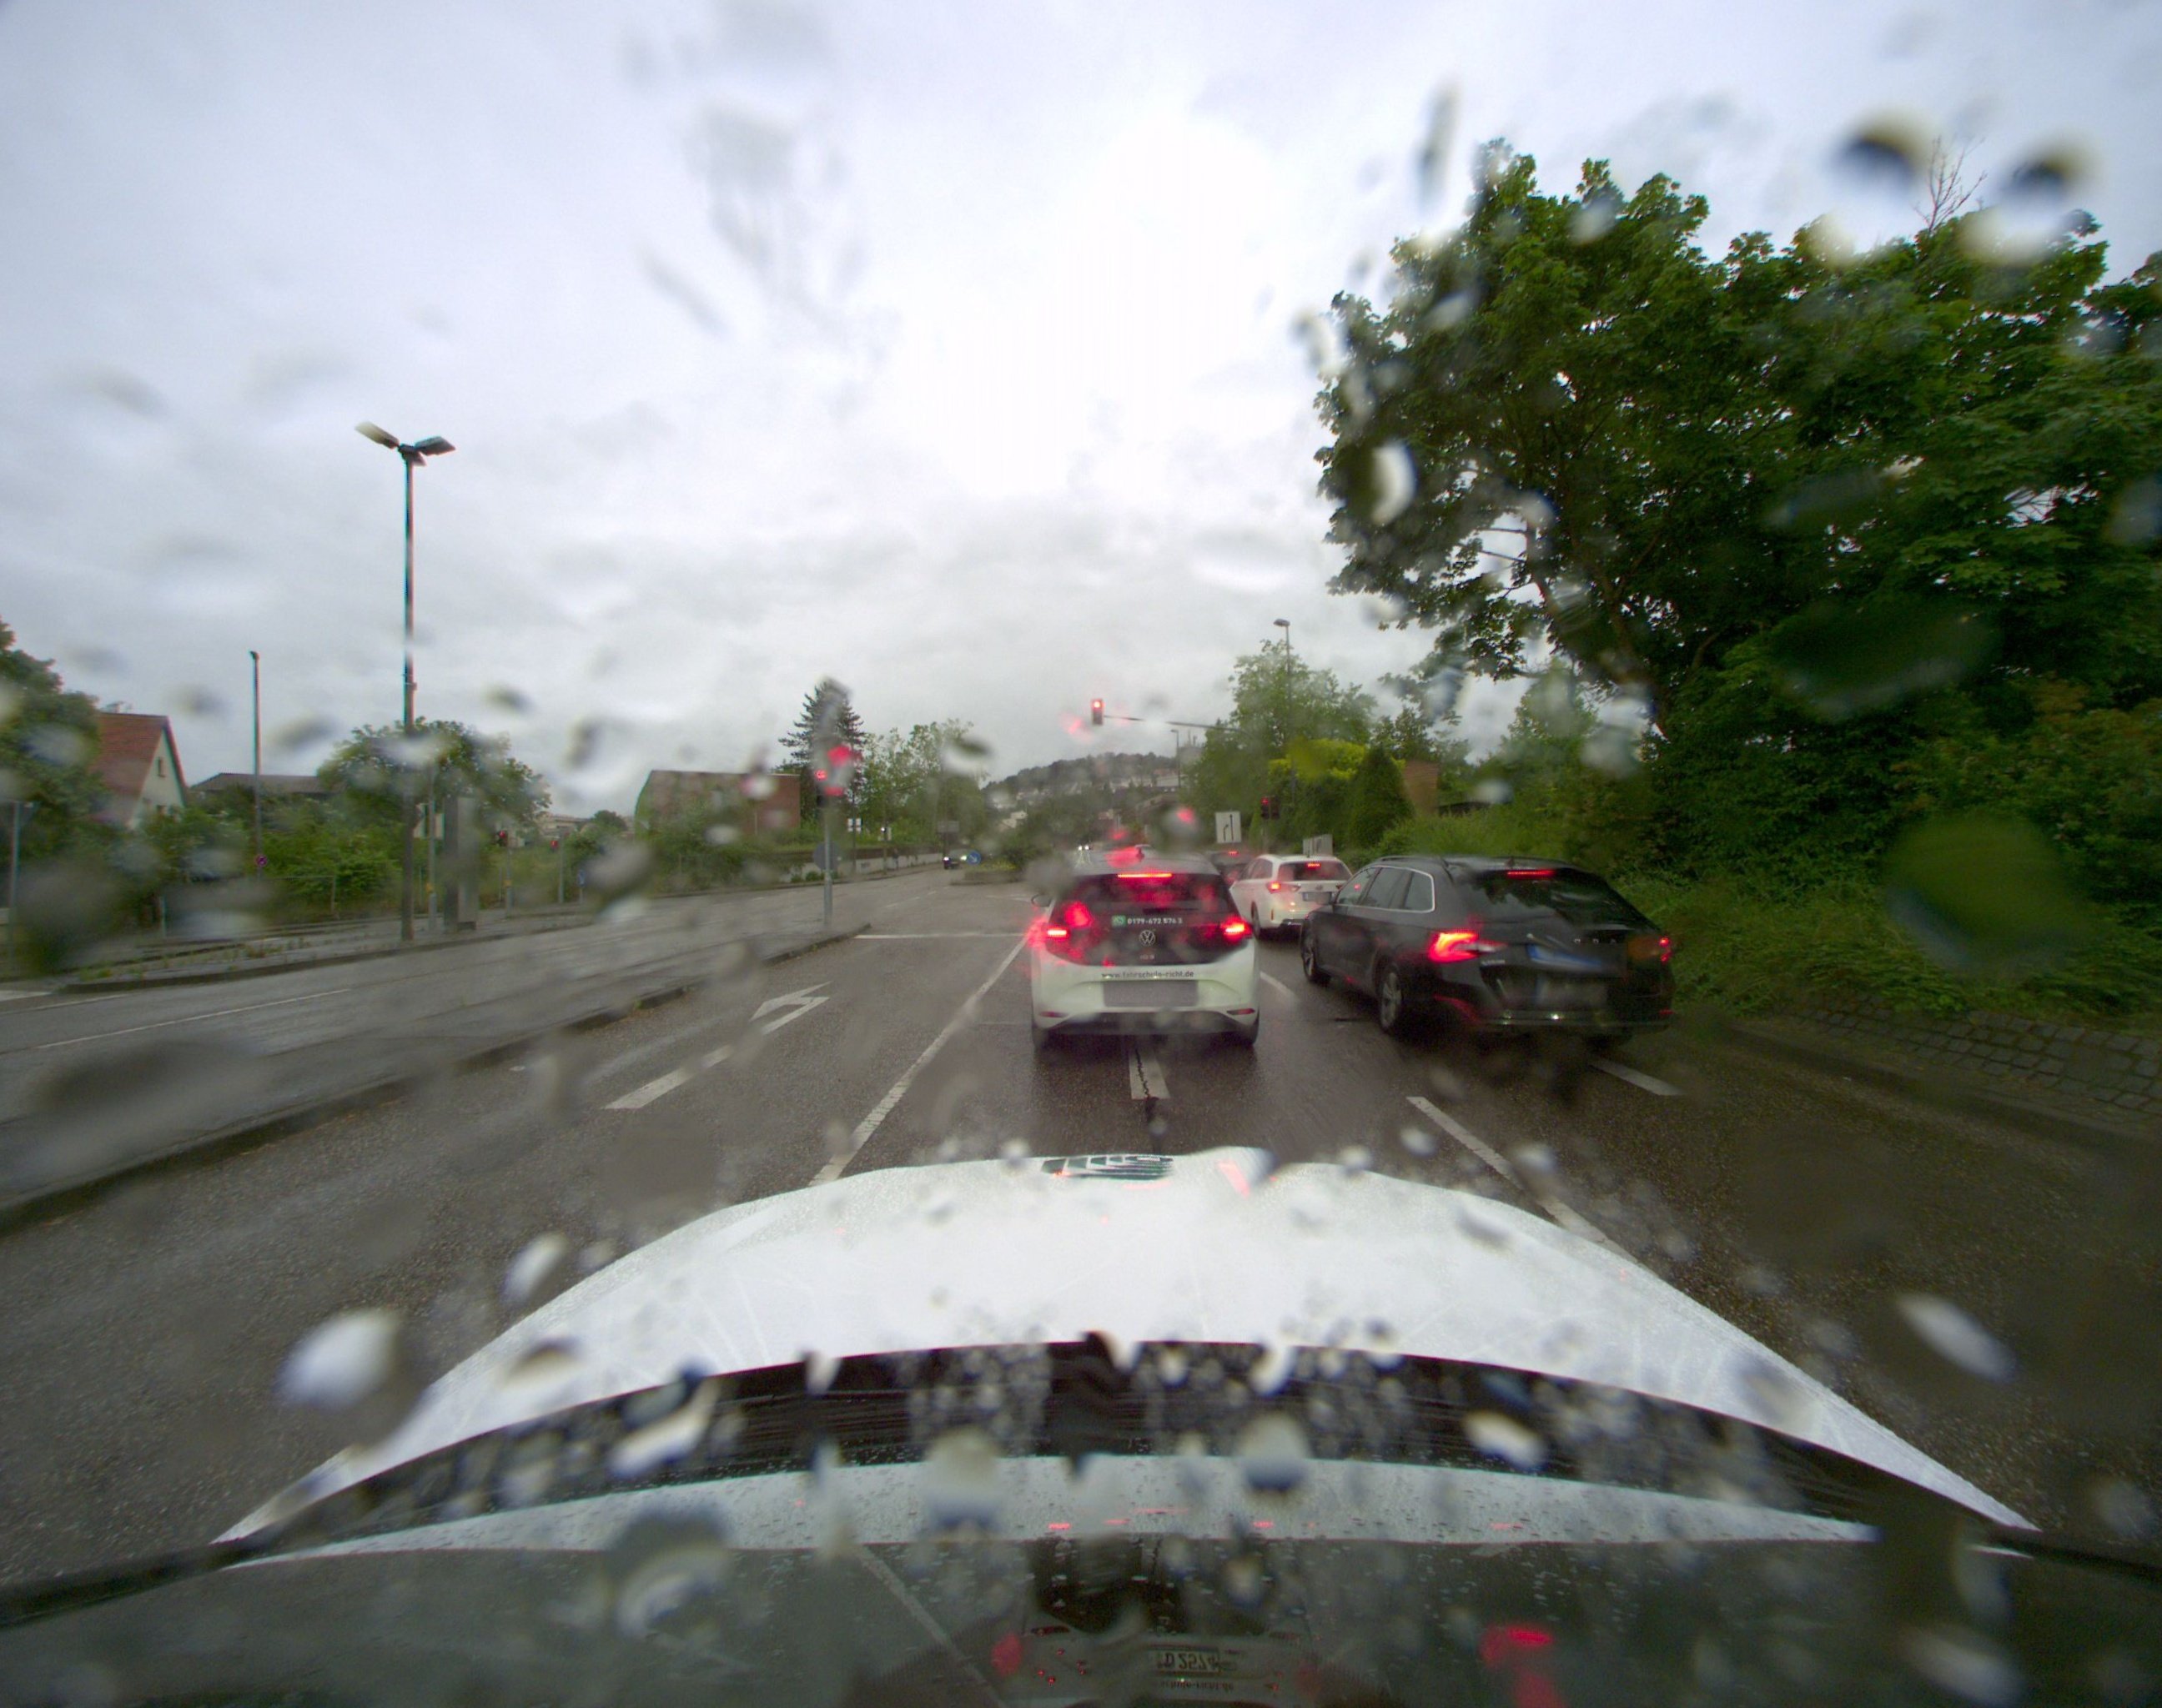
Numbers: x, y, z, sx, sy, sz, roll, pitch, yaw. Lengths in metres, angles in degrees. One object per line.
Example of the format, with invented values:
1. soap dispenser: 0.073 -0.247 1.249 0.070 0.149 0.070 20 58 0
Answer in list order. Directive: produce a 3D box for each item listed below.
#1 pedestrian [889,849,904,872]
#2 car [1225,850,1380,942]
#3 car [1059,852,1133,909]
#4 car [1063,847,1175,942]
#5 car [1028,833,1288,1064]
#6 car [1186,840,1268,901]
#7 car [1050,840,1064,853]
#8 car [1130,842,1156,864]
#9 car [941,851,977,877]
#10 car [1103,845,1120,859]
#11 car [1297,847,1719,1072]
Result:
1. pedestrian: -13.325 0.479 58.786 0.757 1.568 0.825 -4 0 1
2. car: 3.886 0.654 15.027 1.831 1.466 4.118 0 0 1
3. car: 0.418 0.659 22.115 1.831 1.400 3.832 0 0 1
4. car: 0.664 0.643 15.330 1.831 1.555 4.176 0 0 1
5. car: 0.593 0.650 8.056 1.831 1.629 4.617 0 0 1
6. car: 4.105 0.447 23.386 1.769 1.581 4.002 0 0 2
7. car: -4.136 -1.256 140.789 1.986 2.014 4.002 -1 -1 2
8. car: 4.477 -0.029 58.800 1.575 1.467 4.000 -3 -1 1
9. car: -9.547 0.773 64.125 1.986 1.804 4.002 -4 0 2
10. car: 3.325 -0.249 89.248 1.755 1.418 3.748 -3 0 0
11. car: 3.372 0.671 7.517 1.830 1.466 4.353 0 0 3
